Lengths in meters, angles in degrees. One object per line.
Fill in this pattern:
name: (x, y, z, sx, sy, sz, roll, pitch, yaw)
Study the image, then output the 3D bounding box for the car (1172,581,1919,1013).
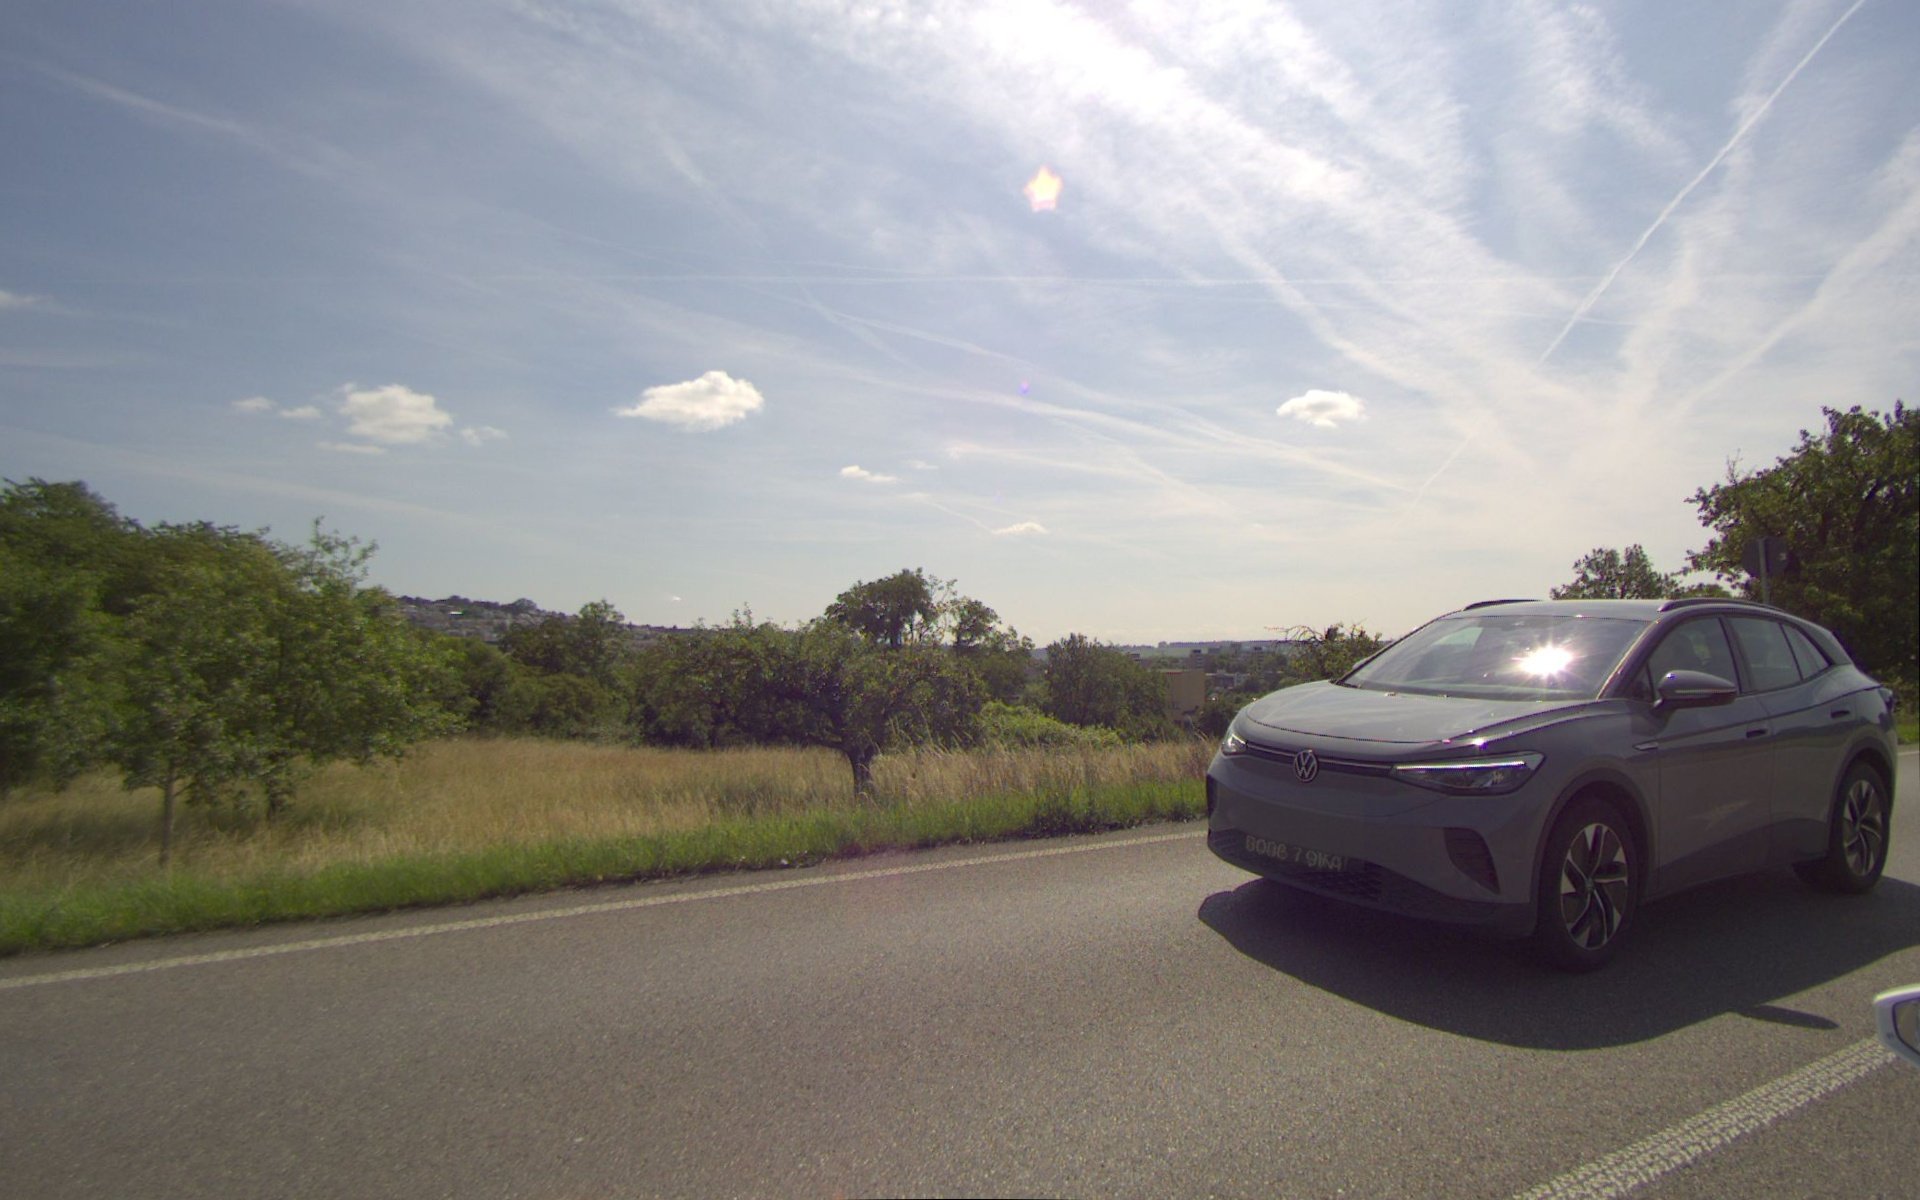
car: (3.522, 0.802, 5.687, 4.438, 1.614, 1.871, 2, -1, -30)
